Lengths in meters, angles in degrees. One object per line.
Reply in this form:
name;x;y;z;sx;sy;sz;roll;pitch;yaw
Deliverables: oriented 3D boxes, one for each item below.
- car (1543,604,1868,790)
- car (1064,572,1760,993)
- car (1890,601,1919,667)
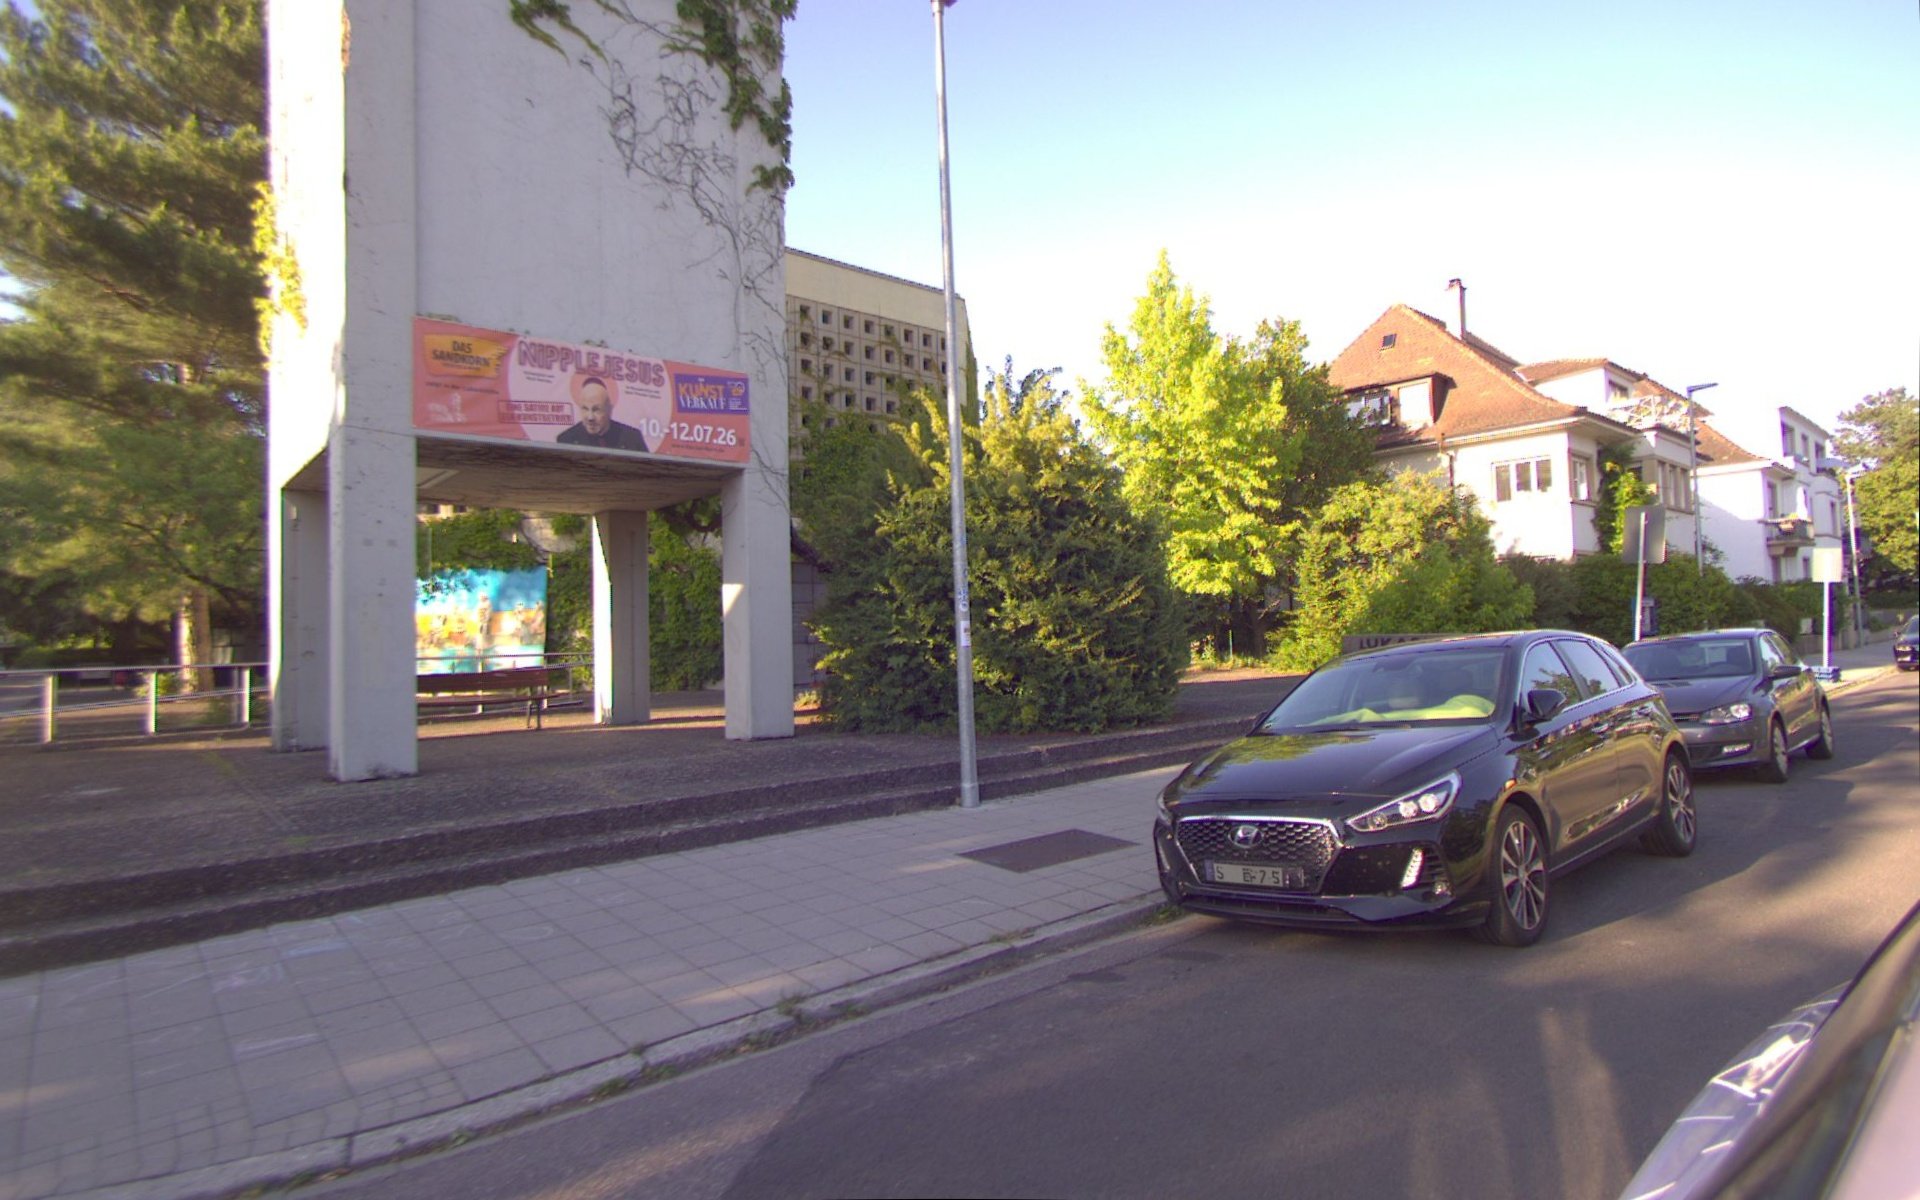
car;7.800;0.930;10.450;4.100;1.548;1.689;1;-7;-41
car;2.920;0.818;6.013;4.539;1.582;1.824;0;-9;-40
car;26.695;0.785;27.142;4.803;1.618;1.995;-1;-6;-42
